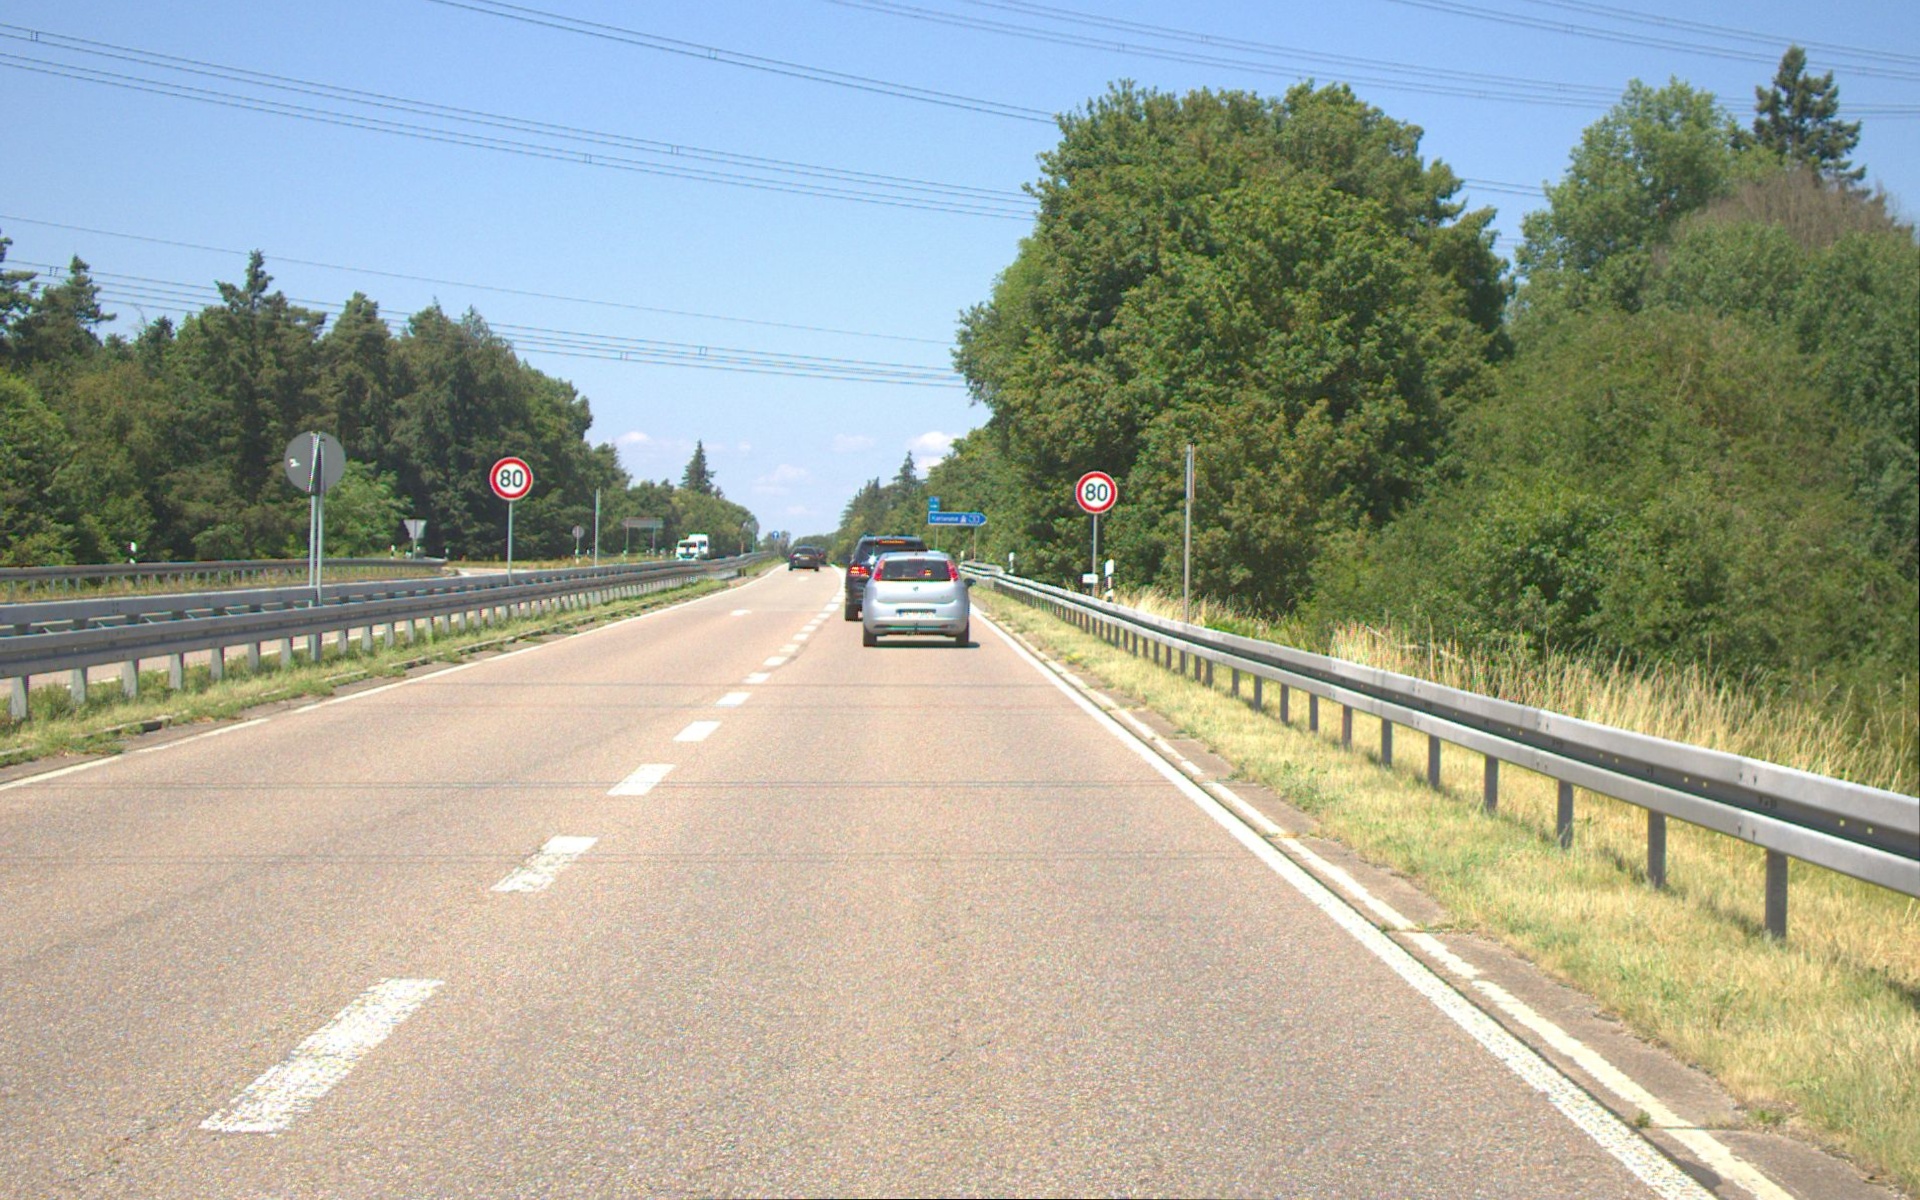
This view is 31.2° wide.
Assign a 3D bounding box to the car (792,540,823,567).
[{"bbox_3d":[-9.023,-2.746,203.293,1.712,1.466,3.574,3,1,-2],"label":"car"}]

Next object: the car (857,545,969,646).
[{"bbox_3d":[-0.763,-0.089,54.162,1.640,1.463,3.419,3,1,-2],"label":"car"}]

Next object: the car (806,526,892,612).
[{"bbox_3d":[-2.318,-0.653,71.127,1.640,1.648,3.574,3,1,-3],"label":"car"}]
